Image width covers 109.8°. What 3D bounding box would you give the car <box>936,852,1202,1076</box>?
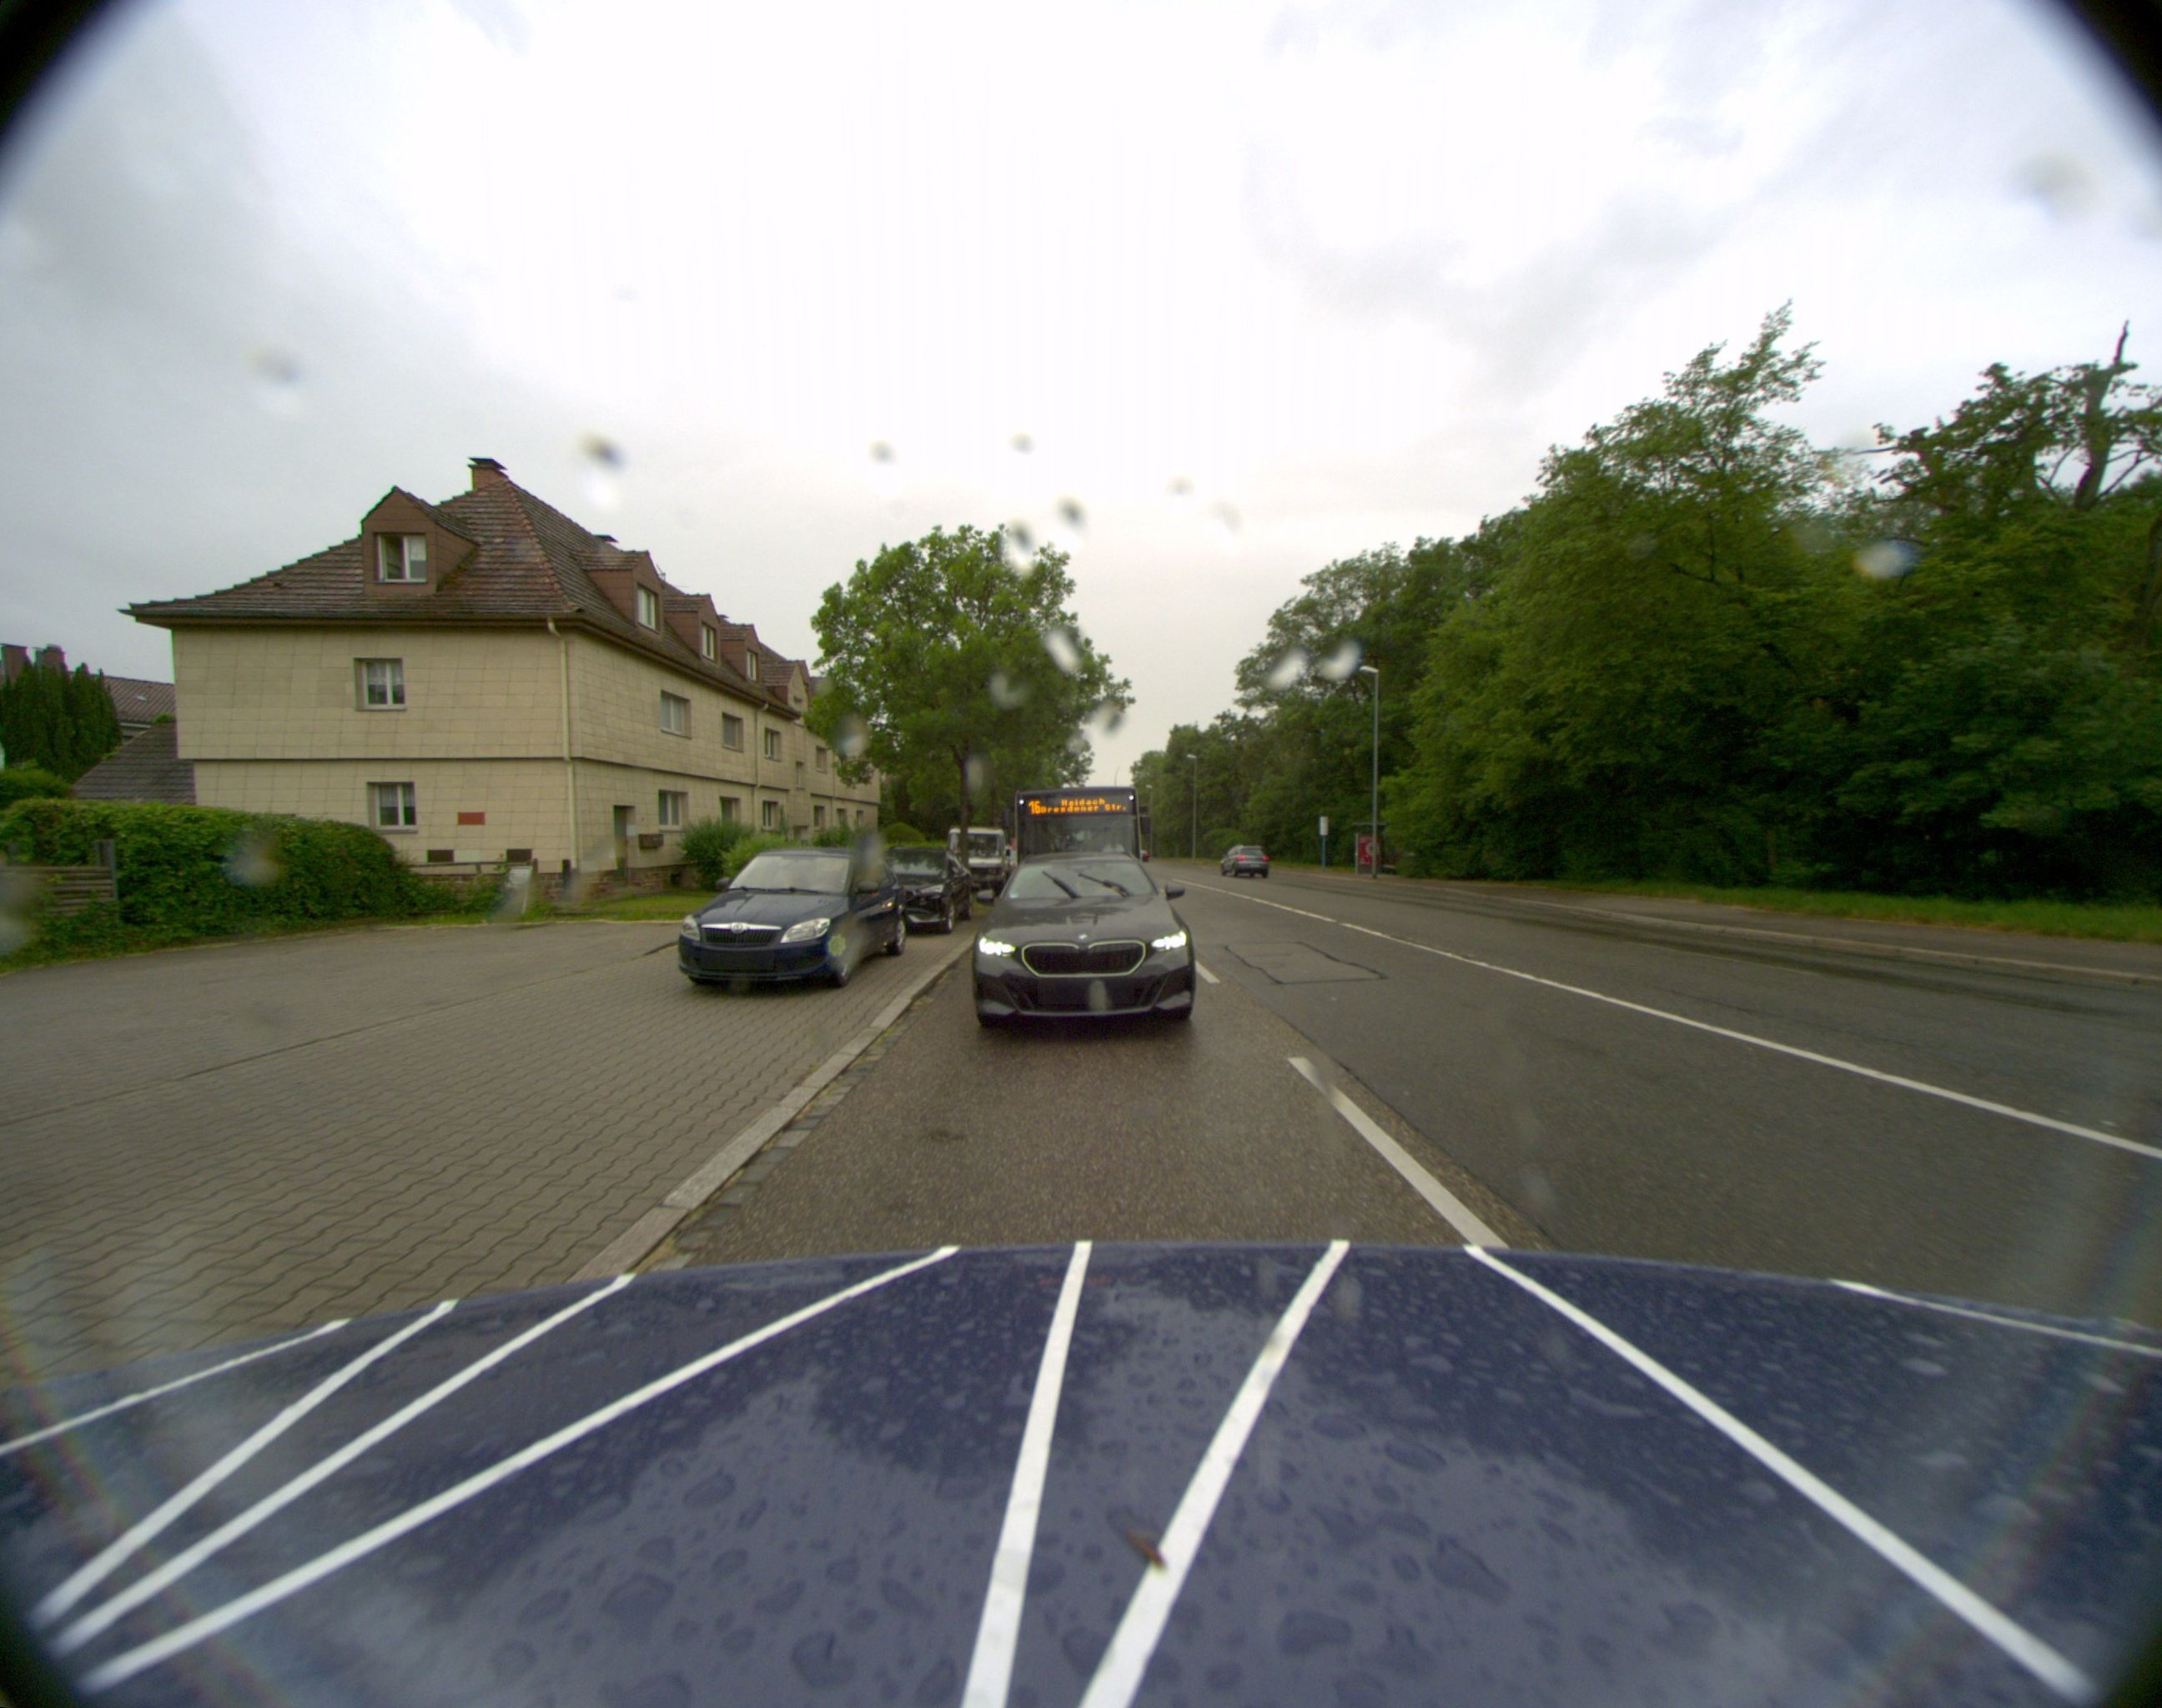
[{"bbox_3d":[-0.069,0.809,7.768,1.882,1.520,4.315,-3,1,1],"label":"car"}]

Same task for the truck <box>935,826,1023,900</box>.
[{"bbox_3d":[-3.204,0.231,25.155,1.998,2.184,5.755,0,1,1],"label":"truck"}]

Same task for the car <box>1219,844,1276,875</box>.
[{"bbox_3d":[8.867,0.248,40.767,1.913,1.581,4.316,0,1,-2],"label":"car"}]

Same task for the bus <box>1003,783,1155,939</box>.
[{"bbox_3d":[0.073,0.036,19.152,2.767,2.858,9.401,-2,1,1],"label":"bus"}]

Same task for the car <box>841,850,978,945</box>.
[{"bbox_3d":[-3.062,0.701,14.353,1.720,1.456,3.998,1,1,-1],"label":"car"}]

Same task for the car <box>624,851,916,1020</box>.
[{"bbox_3d":[-3.239,0.730,8.839,1.720,1.416,3.999,1,1,0],"label":"car"}]

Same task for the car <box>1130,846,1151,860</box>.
[{"bbox_3d":[7.152,-0.168,91.845,1.915,1.446,4.946,3,1,-1],"label":"car"}]

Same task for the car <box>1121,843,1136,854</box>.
[{"bbox_3d":[6.536,-0.804,104.677,1.599,1.420,3.904,0,1,-2],"label":"car"}]
